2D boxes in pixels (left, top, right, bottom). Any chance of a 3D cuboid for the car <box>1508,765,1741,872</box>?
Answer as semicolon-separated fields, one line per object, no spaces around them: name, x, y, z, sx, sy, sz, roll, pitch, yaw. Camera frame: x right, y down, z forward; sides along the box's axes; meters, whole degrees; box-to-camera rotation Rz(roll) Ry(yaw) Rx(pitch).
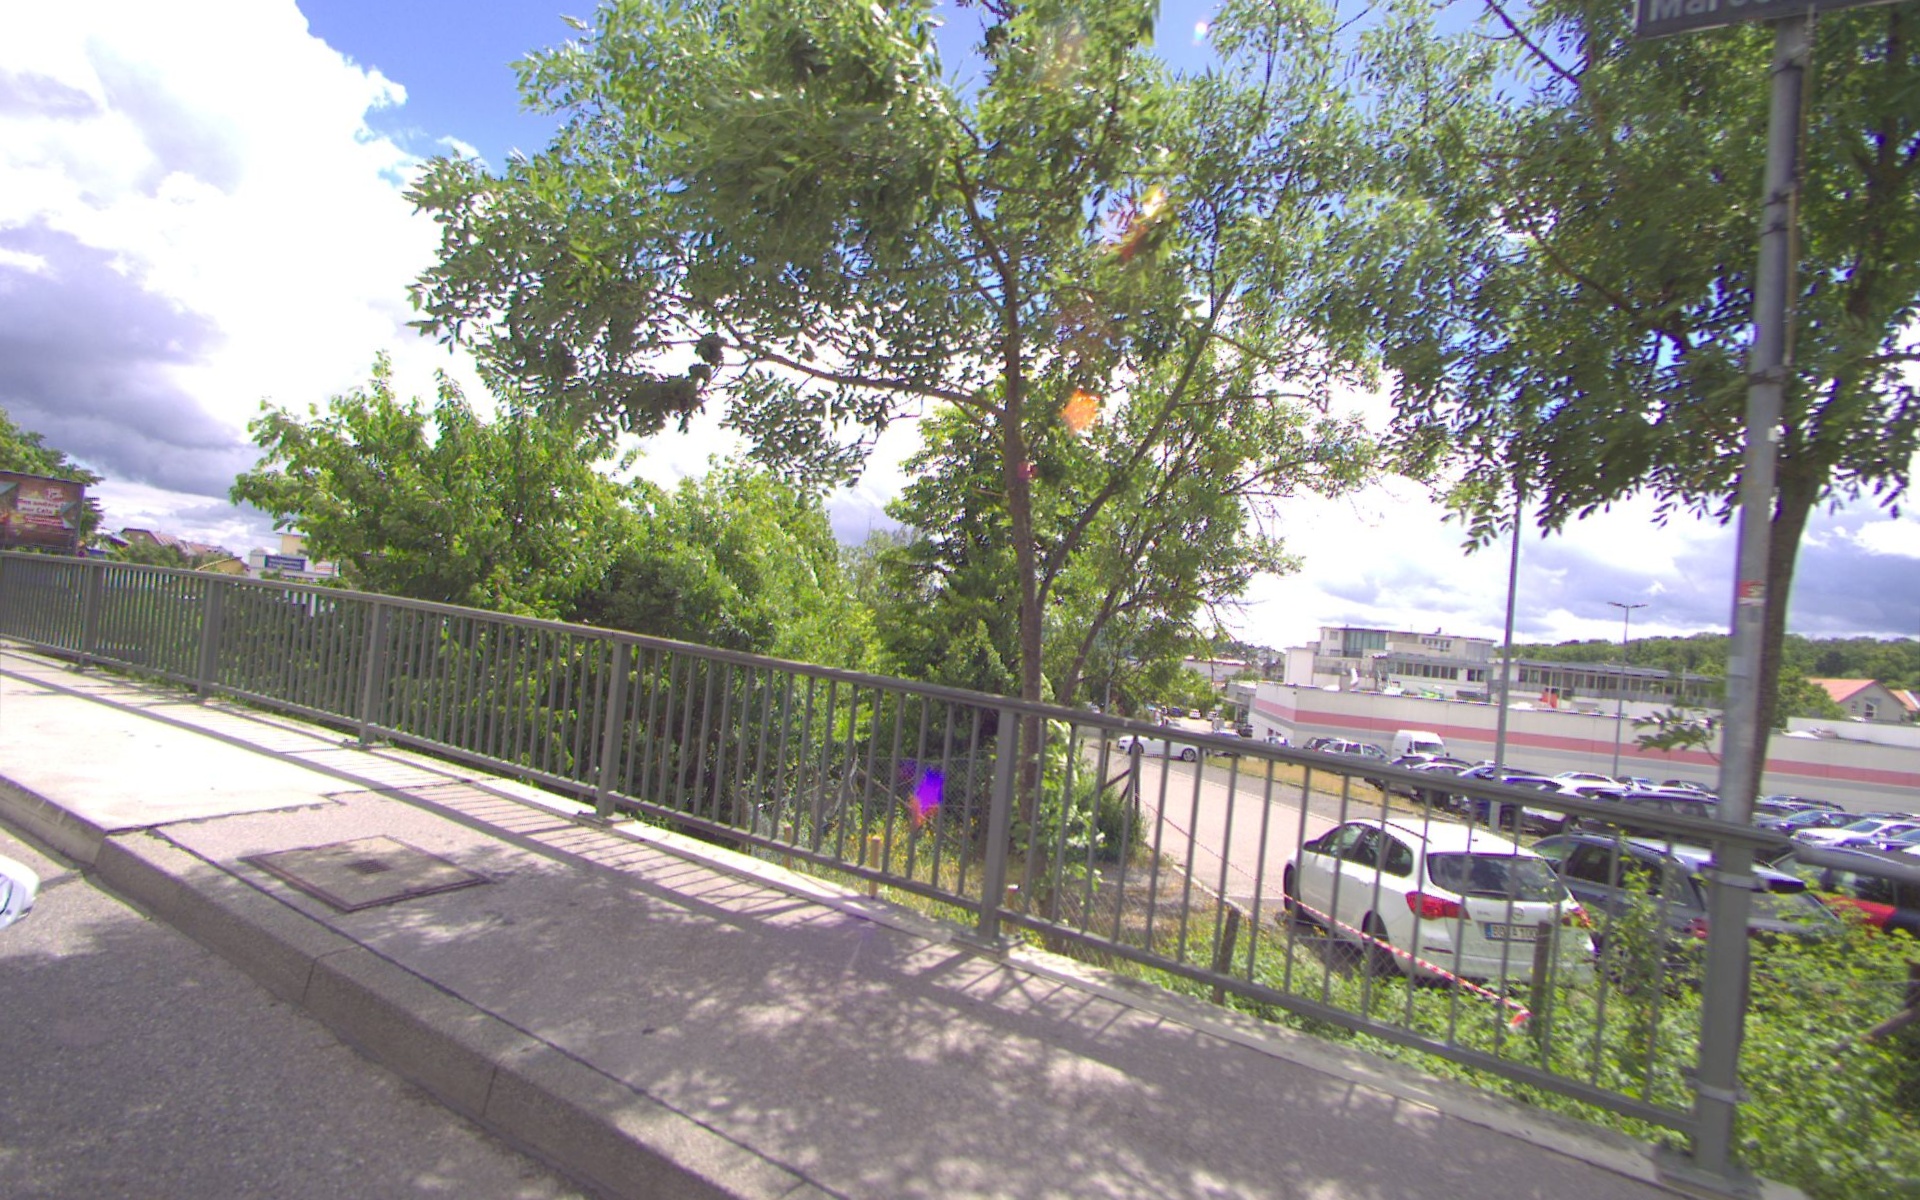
car;15.838;5.185;24.185;4.116;1.690;1.912;6;-1;6

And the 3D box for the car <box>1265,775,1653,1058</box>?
car;4.888;3.053;10.698;1.837;1.688;4.356;6;-3;0

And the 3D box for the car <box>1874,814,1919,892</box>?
car;26.763;6.829;25.850;4.472;1.724;1.912;6;-1;6

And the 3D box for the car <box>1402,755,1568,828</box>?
car;16.536;6.029;31.877;4.116;1.482;1.912;6;-1;6

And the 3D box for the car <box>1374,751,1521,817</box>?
car;17.014;6.422;35.288;4.116;1.482;1.912;6;-1;6

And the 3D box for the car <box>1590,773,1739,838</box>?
car;28.494;8.302;40.805;4.472;1.724;1.912;6;-1;6

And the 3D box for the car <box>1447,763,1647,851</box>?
car;15.663;5.511;27.044;4.116;1.482;1.912;6;-1;6

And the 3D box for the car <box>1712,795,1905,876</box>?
car;28.076;7.768;33.420;4.472;1.724;1.912;6;-1;6

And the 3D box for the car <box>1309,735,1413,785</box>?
car;20.144;8.060;50.712;4.362;1.649;1.909;6;2;6

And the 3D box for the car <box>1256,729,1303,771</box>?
car;17.015;7.958;53.703;1.874;1.580;4.451;6;-1;13

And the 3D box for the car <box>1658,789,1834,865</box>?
car;27.827;8.026;35.749;4.472;1.724;1.912;6;-1;6

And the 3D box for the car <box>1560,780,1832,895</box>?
car;15.393;4.951;21.247;4.116;1.482;1.912;6;-1;6

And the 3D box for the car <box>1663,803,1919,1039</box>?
car;9.951;3.422;10.739;1.836;1.688;4.357;6;-3;2

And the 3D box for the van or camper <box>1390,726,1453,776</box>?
van or camper;28.607;9.303;62.525;1.891;2.718;5.319;6;-6;8

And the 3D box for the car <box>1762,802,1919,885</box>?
car;27.614;7.472;30.704;4.472;1.724;1.912;6;-1;6

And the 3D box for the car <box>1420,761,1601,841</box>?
car;16.079;5.866;29.575;4.116;1.482;1.912;6;-1;6

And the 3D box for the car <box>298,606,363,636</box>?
car;-41.093;1.388;65.787;1.679;1.494;3.965;6;-5;-2

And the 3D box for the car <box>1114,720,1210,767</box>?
car;10.031;7.118;50.206;4.362;1.580;1.912;6;-1;6

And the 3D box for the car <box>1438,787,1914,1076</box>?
car;7.106;3.205;10.695;1.837;1.688;4.356;6;-3;0

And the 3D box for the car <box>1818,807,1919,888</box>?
car;27.288;7.111;28.218;4.472;1.724;1.912;6;-1;6

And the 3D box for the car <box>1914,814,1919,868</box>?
car;34.384;8.258;32.807;4.359;1.803;2.006;6;-5;8

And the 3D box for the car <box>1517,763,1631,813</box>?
car;31.297;9.568;51.383;4.472;1.724;1.912;6;-1;6

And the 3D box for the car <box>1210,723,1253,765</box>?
car;14.480;7.628;53.799;1.874;1.580;4.451;6;-1;13
